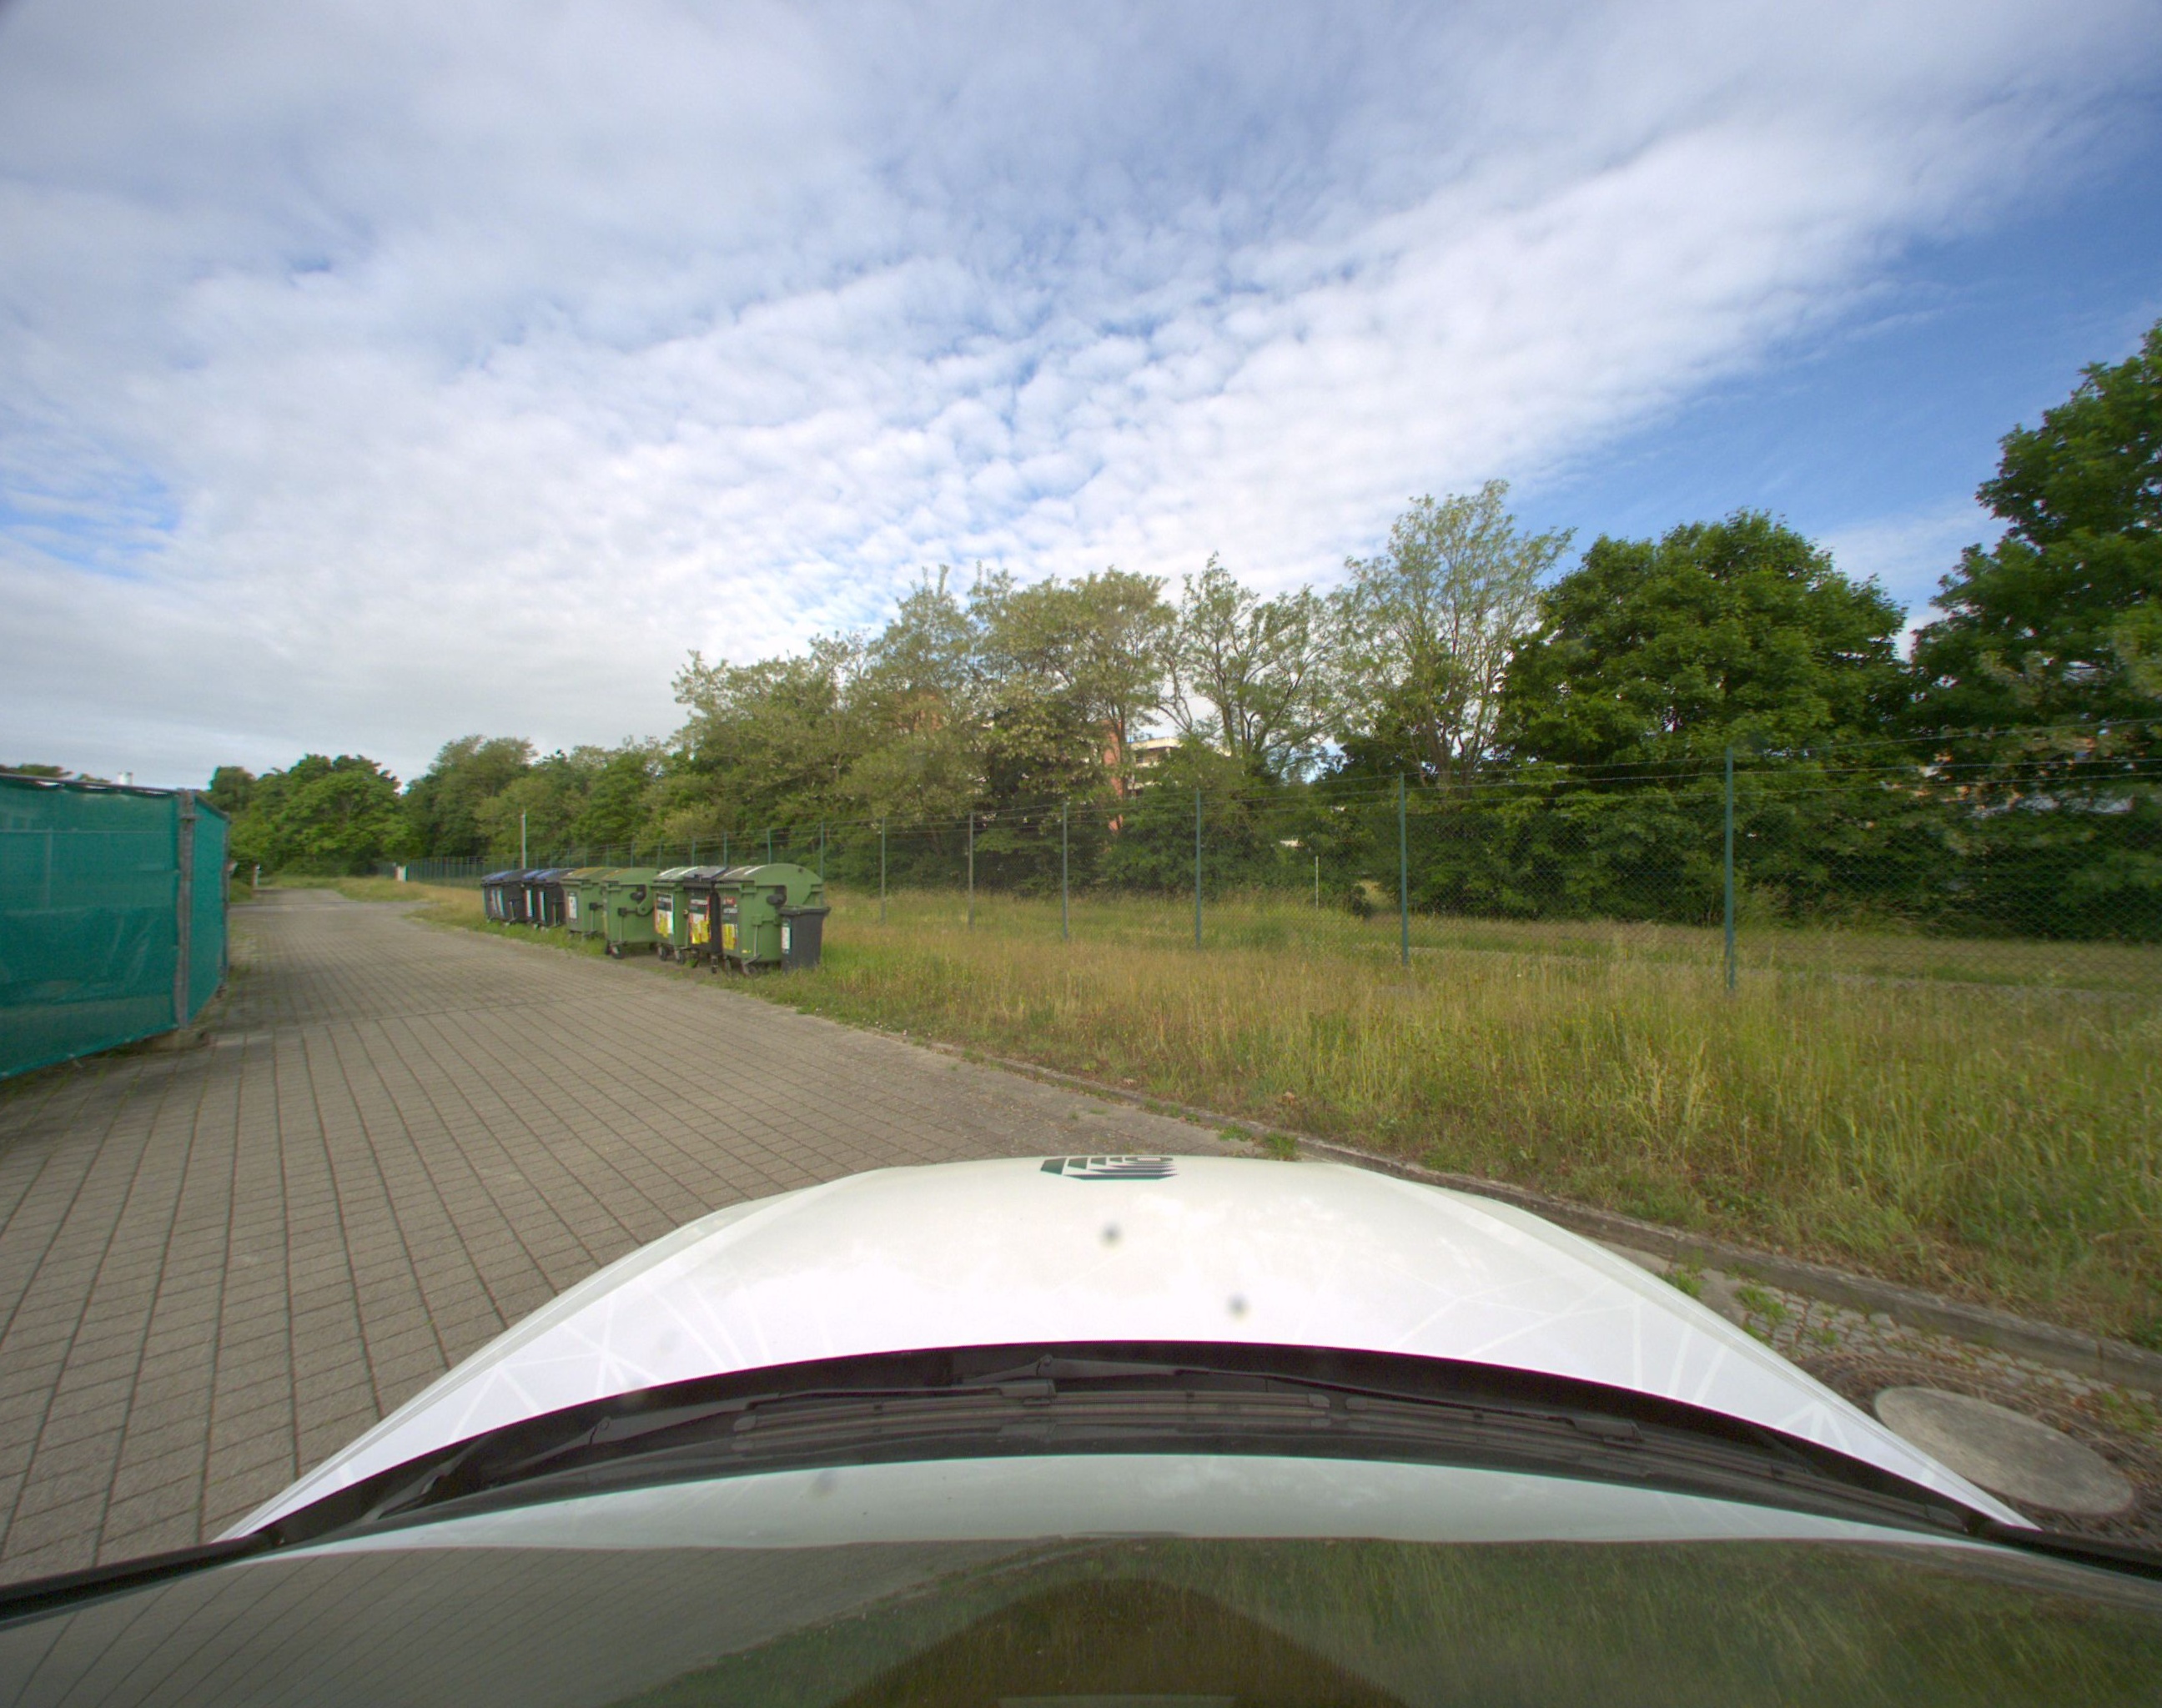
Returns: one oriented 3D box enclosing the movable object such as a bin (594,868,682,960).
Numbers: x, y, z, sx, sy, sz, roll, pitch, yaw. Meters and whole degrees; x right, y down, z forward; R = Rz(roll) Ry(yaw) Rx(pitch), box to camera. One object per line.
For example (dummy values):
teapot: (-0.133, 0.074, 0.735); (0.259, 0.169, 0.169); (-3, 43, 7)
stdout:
movable object such as a bin: (-7.284, 0.950, 13.357); (1.131, 1.398, 1.370); (1, -2, -35)

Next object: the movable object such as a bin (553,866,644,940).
movable object such as a bin: (-9.034, 0.887, 15.234); (1.362, 1.296, 1.133); (-3, -3, 44)

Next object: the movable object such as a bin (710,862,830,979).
movable object such as a bin: (-4.063, 0.820, 10.609); (1.137, 1.396, 1.341); (1, -2, -37)

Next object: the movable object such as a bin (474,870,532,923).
movable object such as a bin: (-15.298, 1.099, 21.543); (1.132, 1.351, 1.409); (1, -3, -40)

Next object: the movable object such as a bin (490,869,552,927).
movable object such as a bin: (-13.470, 1.030, 19.582); (1.132, 1.321, 1.310); (0, -1, -39)

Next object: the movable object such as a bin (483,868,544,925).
movable object such as a bin: (-14.321, 1.051, 20.548); (1.132, 1.379, 1.309); (1, -3, -40)

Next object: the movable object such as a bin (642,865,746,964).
movable object such as a bin: (-5.941, 0.894, 12.486); (1.078, 1.406, 1.368); (1, -3, -42)

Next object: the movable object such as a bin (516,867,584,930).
movable object such as a bin: (-12.222, 1.002, 18.729); (1.132, 1.374, 1.476); (1, -3, -40)

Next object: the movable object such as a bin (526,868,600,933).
movable object such as a bin: (-11.174, 0.978, 17.570); (1.164, 1.325, 1.476); (1, -3, -40)

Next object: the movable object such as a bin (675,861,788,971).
movable object such as a bin: (-4.980, 0.844, 11.587); (1.078, 1.435, 1.381); (1, -3, -42)

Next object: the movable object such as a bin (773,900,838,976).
movable object such as a bin: (-3.367, 1.009, 9.939); (0.604, 0.866, 0.579); (1, -3, -37)
